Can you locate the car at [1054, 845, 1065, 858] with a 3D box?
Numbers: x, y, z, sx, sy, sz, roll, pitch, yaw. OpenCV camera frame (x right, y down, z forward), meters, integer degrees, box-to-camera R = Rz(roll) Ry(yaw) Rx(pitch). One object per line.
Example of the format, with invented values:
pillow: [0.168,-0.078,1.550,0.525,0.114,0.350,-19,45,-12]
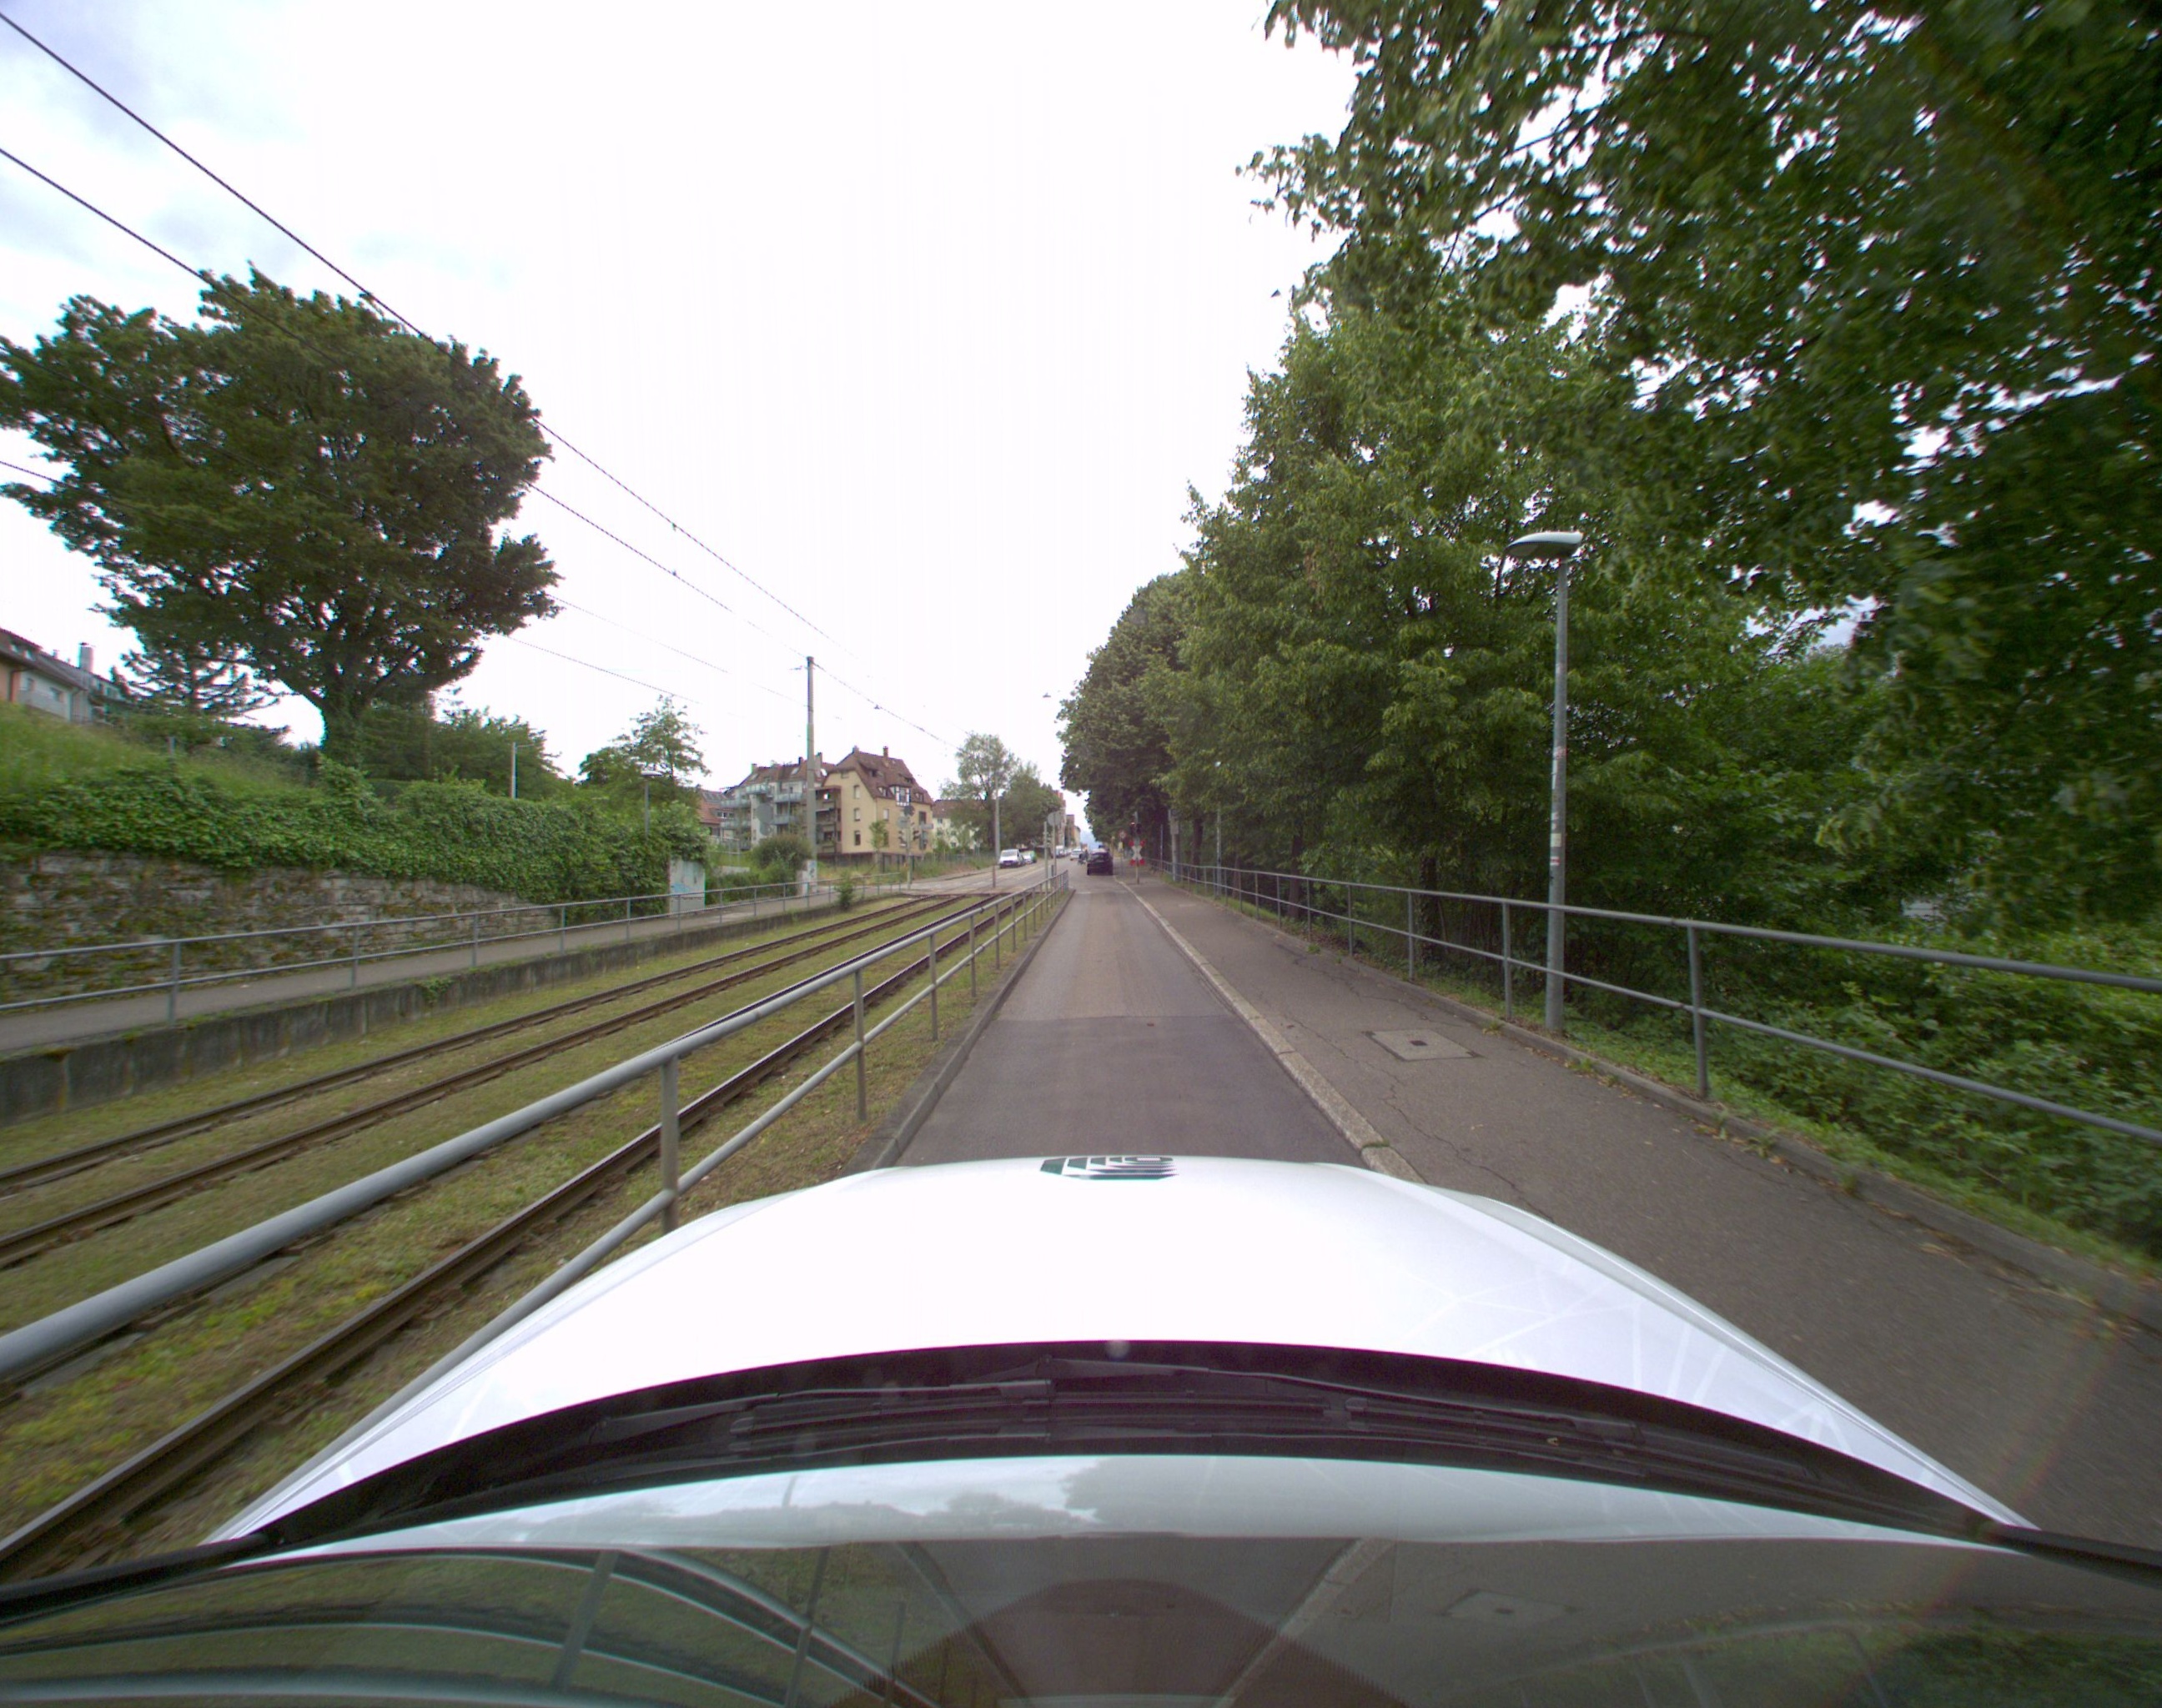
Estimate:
car: [-4.655,-0.563,178.553,2.224,2.764,5.797,-1,0,-1]

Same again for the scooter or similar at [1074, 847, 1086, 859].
scooter or similar: [-0.107,-0.098,85.988,0.828,1.196,0.812,-1,-1,43]

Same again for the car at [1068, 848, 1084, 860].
car: [-0.683,0.002,110.033,1.986,1.498,4.313,-1,0,1]

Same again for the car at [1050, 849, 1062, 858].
car: [-4.990,-0.158,164.059,1.985,1.808,4.003,-1,0,3]

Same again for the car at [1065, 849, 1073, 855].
car: [-3.328,-0.575,222.386,1.917,1.601,4.002,-1,0,2]

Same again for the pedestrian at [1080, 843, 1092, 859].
pedestrian: [0.516,-0.326,85.417,0.905,1.628,0.812,-1,-1,43]

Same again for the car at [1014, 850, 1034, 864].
car: [-6.811,0.340,97.798,1.878,1.526,4.665,-3,0,1]

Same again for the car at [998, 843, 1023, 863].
car: [-7.178,-0.059,83.626,2.029,1.881,4.885,-4,0,0]

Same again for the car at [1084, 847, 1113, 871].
car: [1.290,0.333,57.521,1.896,1.615,4.603,0,0,3]
